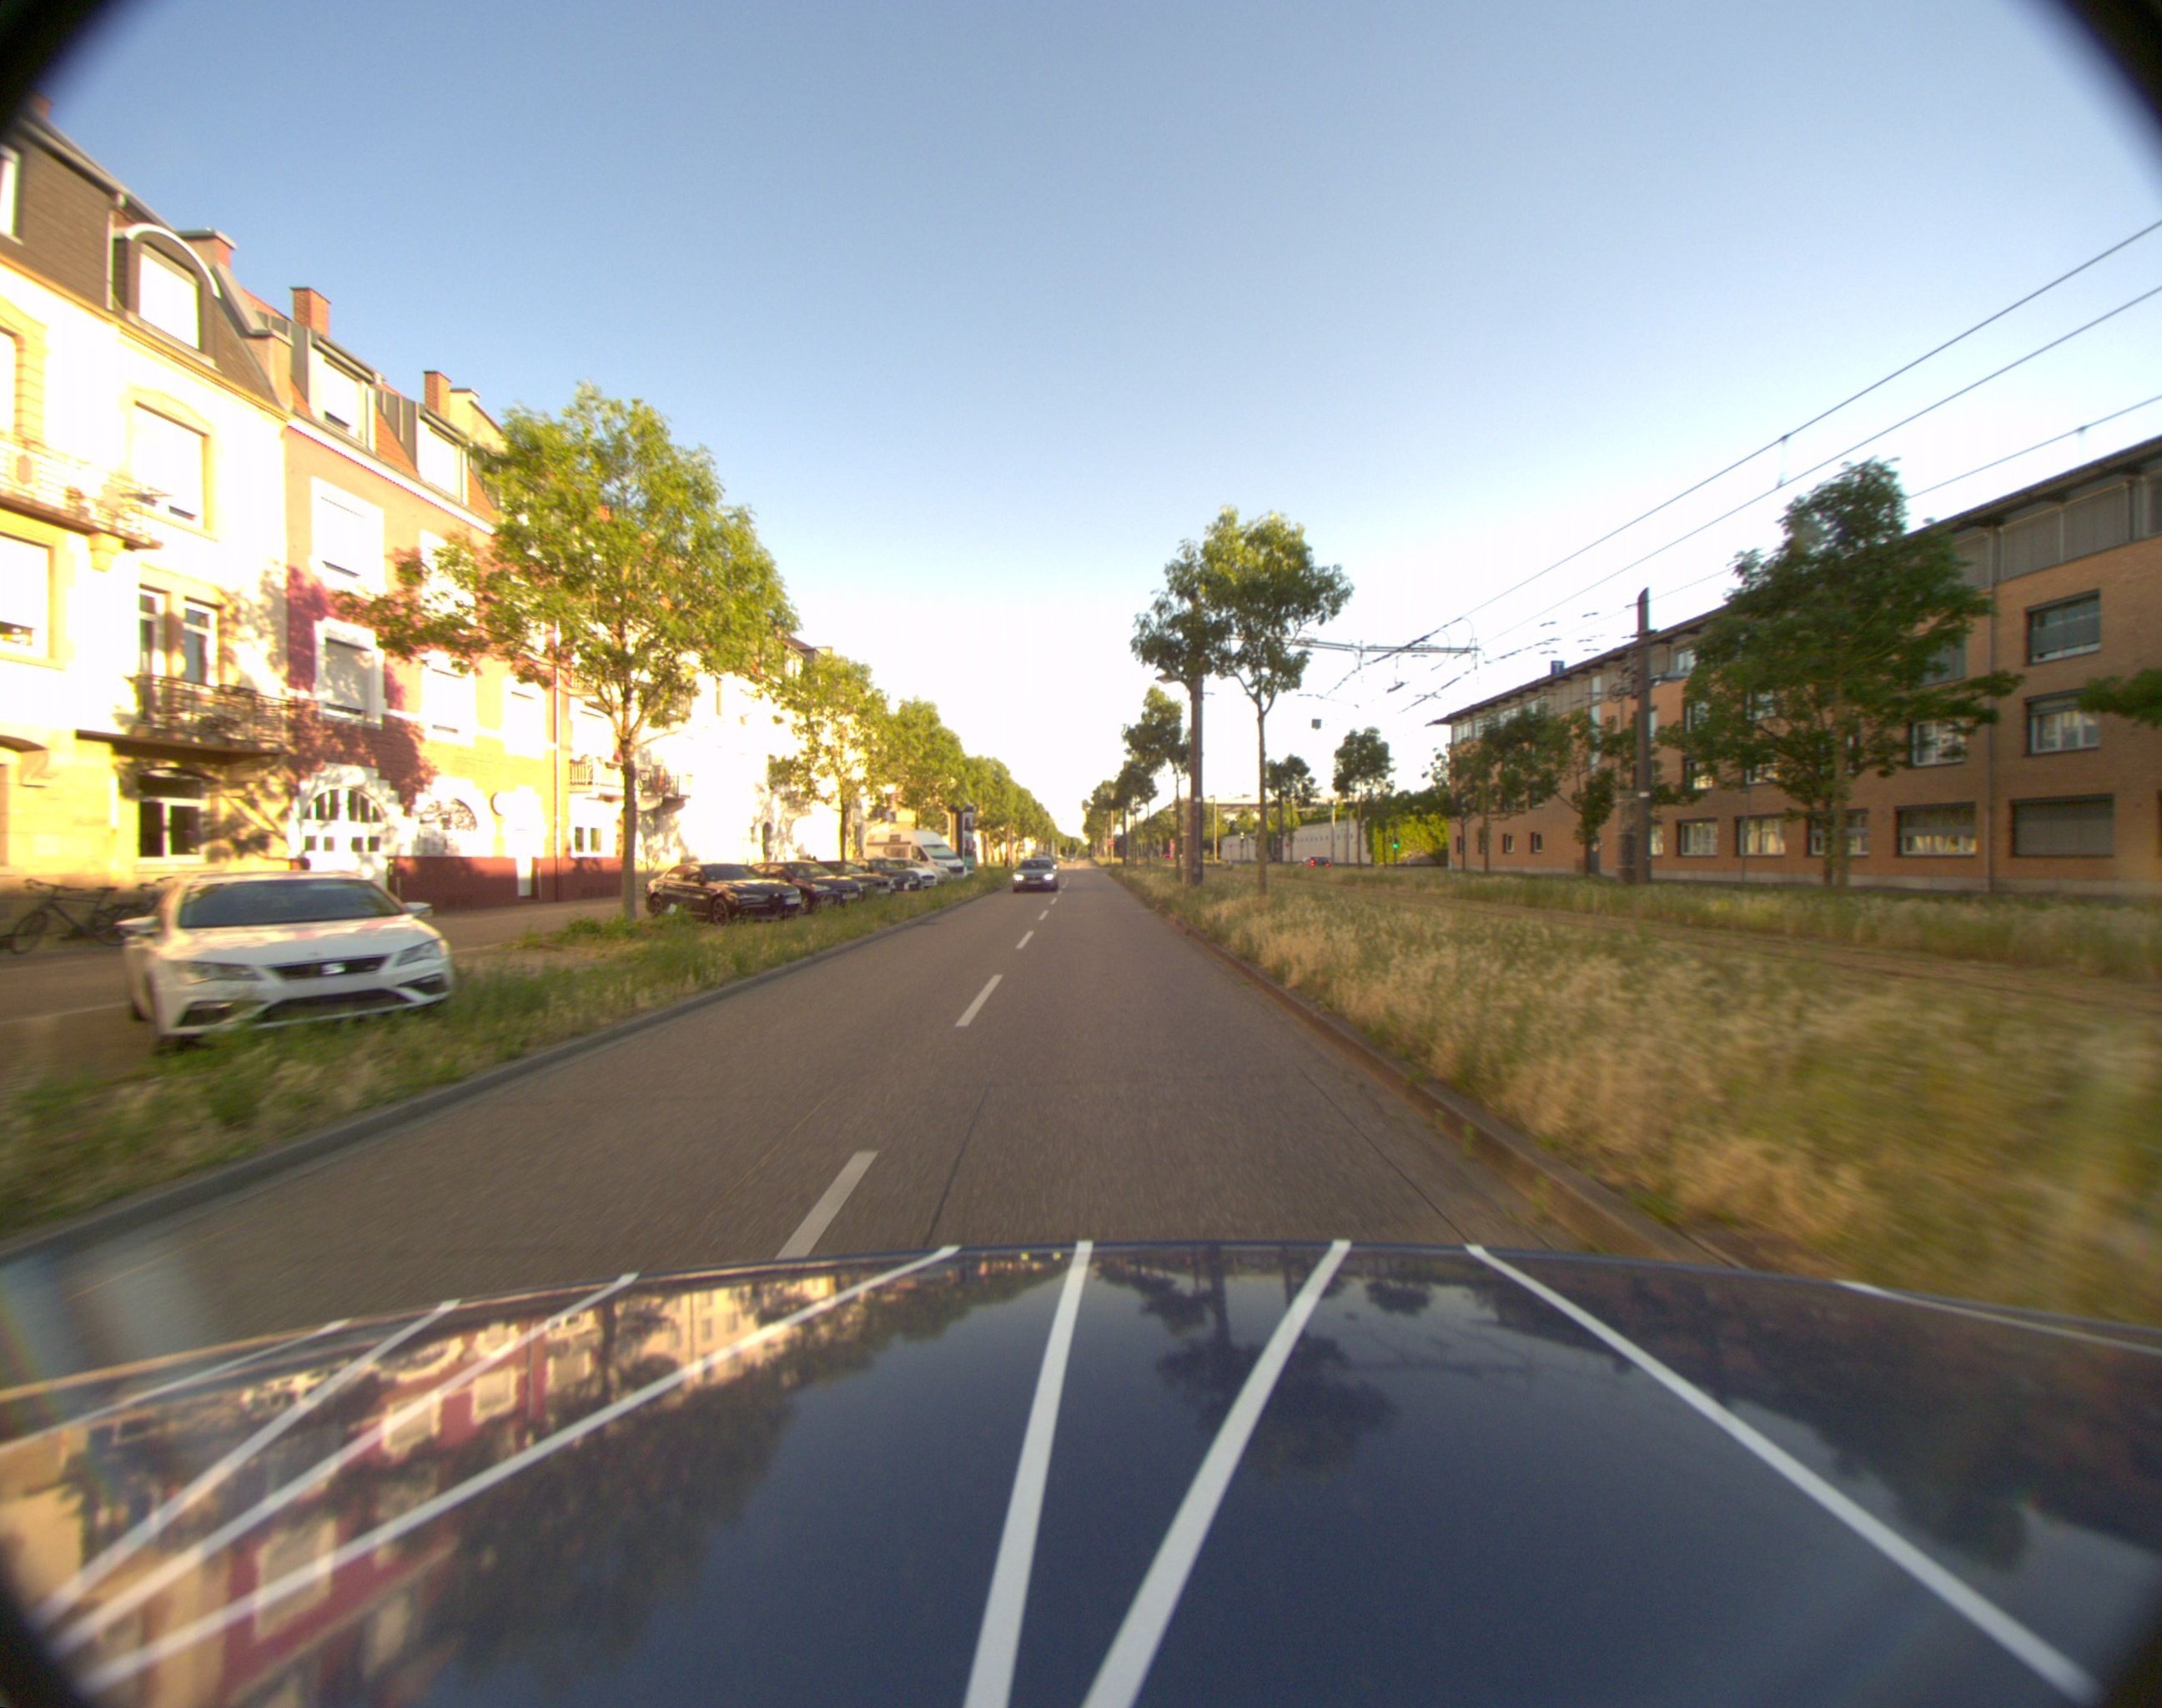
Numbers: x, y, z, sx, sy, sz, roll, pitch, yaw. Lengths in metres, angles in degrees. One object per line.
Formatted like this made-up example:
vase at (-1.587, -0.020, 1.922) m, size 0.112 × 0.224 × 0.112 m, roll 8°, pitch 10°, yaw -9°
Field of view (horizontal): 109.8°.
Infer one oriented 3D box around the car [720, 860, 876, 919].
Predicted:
car at (-7.748, 0.927, 20.740) m, size 4.042 × 1.429 × 1.730 m, roll -1°, pitch 1°, yaw 29°

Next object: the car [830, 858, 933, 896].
car at (-8.079, 0.874, 30.655) m, size 4.264 × 1.395 × 1.799 m, roll 0°, pitch 0°, yaw 38°

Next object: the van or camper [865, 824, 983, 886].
van or camper at (-7.649, 0.033, 36.789) m, size 5.635 × 2.796 × 2.209 m, roll 0°, pitch 1°, yaw 32°

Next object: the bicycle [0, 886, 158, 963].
bicycle at (-16.714, 1.113, 12.395) m, size 0.589 × 1.072 × 2.228 m, roll 1°, pitch 0°, yaw 0°

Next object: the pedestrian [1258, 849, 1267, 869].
pedestrian at (15.484, 0.460, 64.806) m, size 0.515 × 1.675 × 0.548 m, roll -1°, pitch 0°, yaw -30°

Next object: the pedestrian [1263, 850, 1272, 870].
pedestrian at (15.616, 0.490, 63.710) m, size 0.515 × 1.675 × 0.548 m, roll -1°, pitch 1°, yaw -30°

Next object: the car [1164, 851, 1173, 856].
car at (22.125, -0.162, 191.583) m, size 1.794 × 1.368 × 4.000 m, roll 0°, pitch 0°, yaw 0°

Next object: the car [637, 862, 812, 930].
car at (-8.541, 0.925, 18.065) m, size 4.424 × 1.408 × 1.889 m, roll -1°, pitch 0°, yaw 37°

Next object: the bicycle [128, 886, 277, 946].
bicycle at (-16.702, 1.156, 14.526) m, size 0.580 × 0.985 × 1.928 m, roll 0°, pitch 0°, yaw 0°

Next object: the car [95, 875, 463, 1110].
car at (-7.875, 1.008, 7.318) m, size 4.633 × 1.501 × 1.851 m, roll 0°, pitch 0°, yaw 36°

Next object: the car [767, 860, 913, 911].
car at (-7.568, 0.957, 23.753) m, size 4.424 × 1.415 × 1.926 m, roll -1°, pitch 0°, yaw 33°

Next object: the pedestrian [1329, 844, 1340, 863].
pedestrian at (27.519, -0.030, 82.483) m, size 0.731 × 2.002 × 0.866 m, roll -3°, pitch 1°, yaw -19°

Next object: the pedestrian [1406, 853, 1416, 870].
pedestrian at (27.141, 0.605, 62.483) m, size 0.587 × 1.359 × 0.575 m, roll -1°, pitch 1°, yaw -5°

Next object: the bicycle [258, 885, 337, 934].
bicycle at (-16.859, 1.175, 16.373) m, size 0.419 × 0.956 × 1.218 m, roll 0°, pitch 0°, yaw 0°

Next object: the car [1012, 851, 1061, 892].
car at (-2.015, 0.733, 33.853) m, size 1.999 × 1.655 × 3.998 m, roll -2°, pitch 0°, yaw -4°

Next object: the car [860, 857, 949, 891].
car at (-7.854, 0.830, 33.602) m, size 3.912 × 1.395 × 1.799 m, roll 0°, pitch 0°, yaw 39°

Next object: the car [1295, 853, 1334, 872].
car at (17.889, 0.641, 58.379) m, size 1.794 × 1.368 × 4.000 m, roll 0°, pitch 0°, yaw 0°

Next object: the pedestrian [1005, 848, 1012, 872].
pedestrian at (-6.112, 0.511, 63.922) m, size 0.514 × 2.002 × 0.599 m, roll 0°, pitch 1°, yaw 0°
